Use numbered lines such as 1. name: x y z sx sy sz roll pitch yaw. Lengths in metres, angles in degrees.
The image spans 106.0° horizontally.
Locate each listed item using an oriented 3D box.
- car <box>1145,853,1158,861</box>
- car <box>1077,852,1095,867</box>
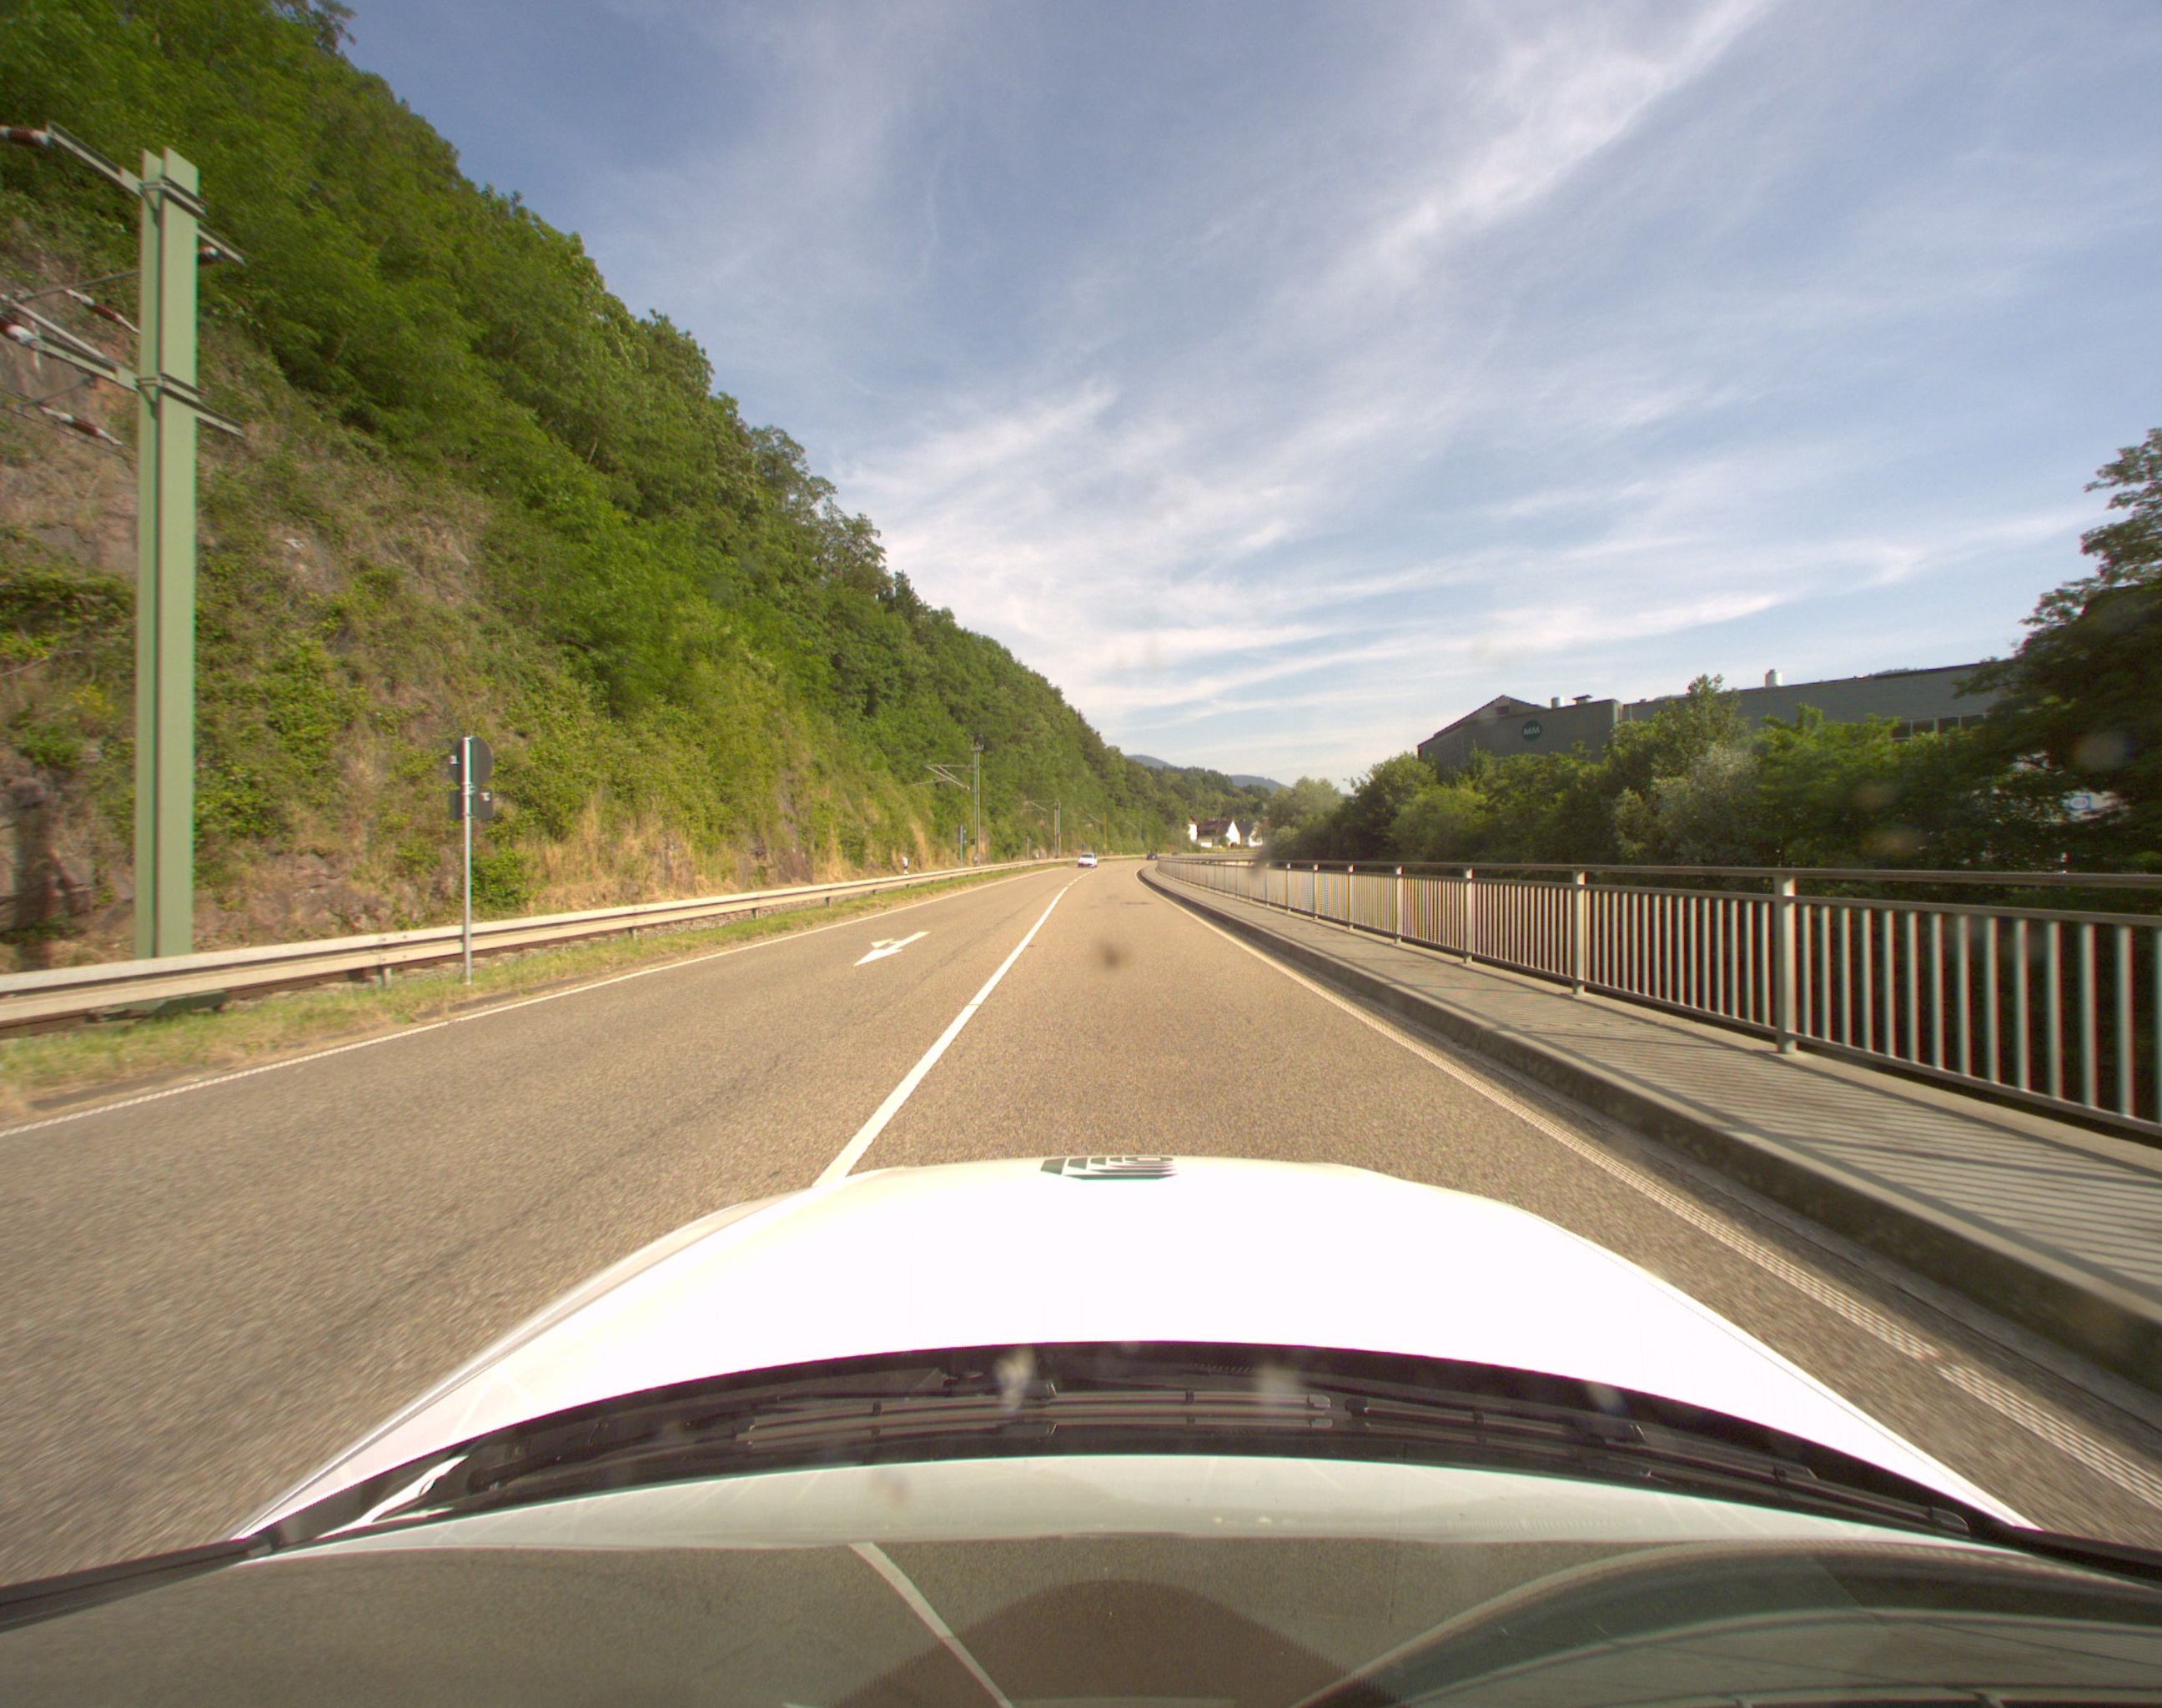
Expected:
1. car: 13.634 0.632 158.143 1.834 1.440 3.912 -1 0 14
2. car: 0.548 0.591 88.446 1.840 1.544 4.605 -1 0 2
